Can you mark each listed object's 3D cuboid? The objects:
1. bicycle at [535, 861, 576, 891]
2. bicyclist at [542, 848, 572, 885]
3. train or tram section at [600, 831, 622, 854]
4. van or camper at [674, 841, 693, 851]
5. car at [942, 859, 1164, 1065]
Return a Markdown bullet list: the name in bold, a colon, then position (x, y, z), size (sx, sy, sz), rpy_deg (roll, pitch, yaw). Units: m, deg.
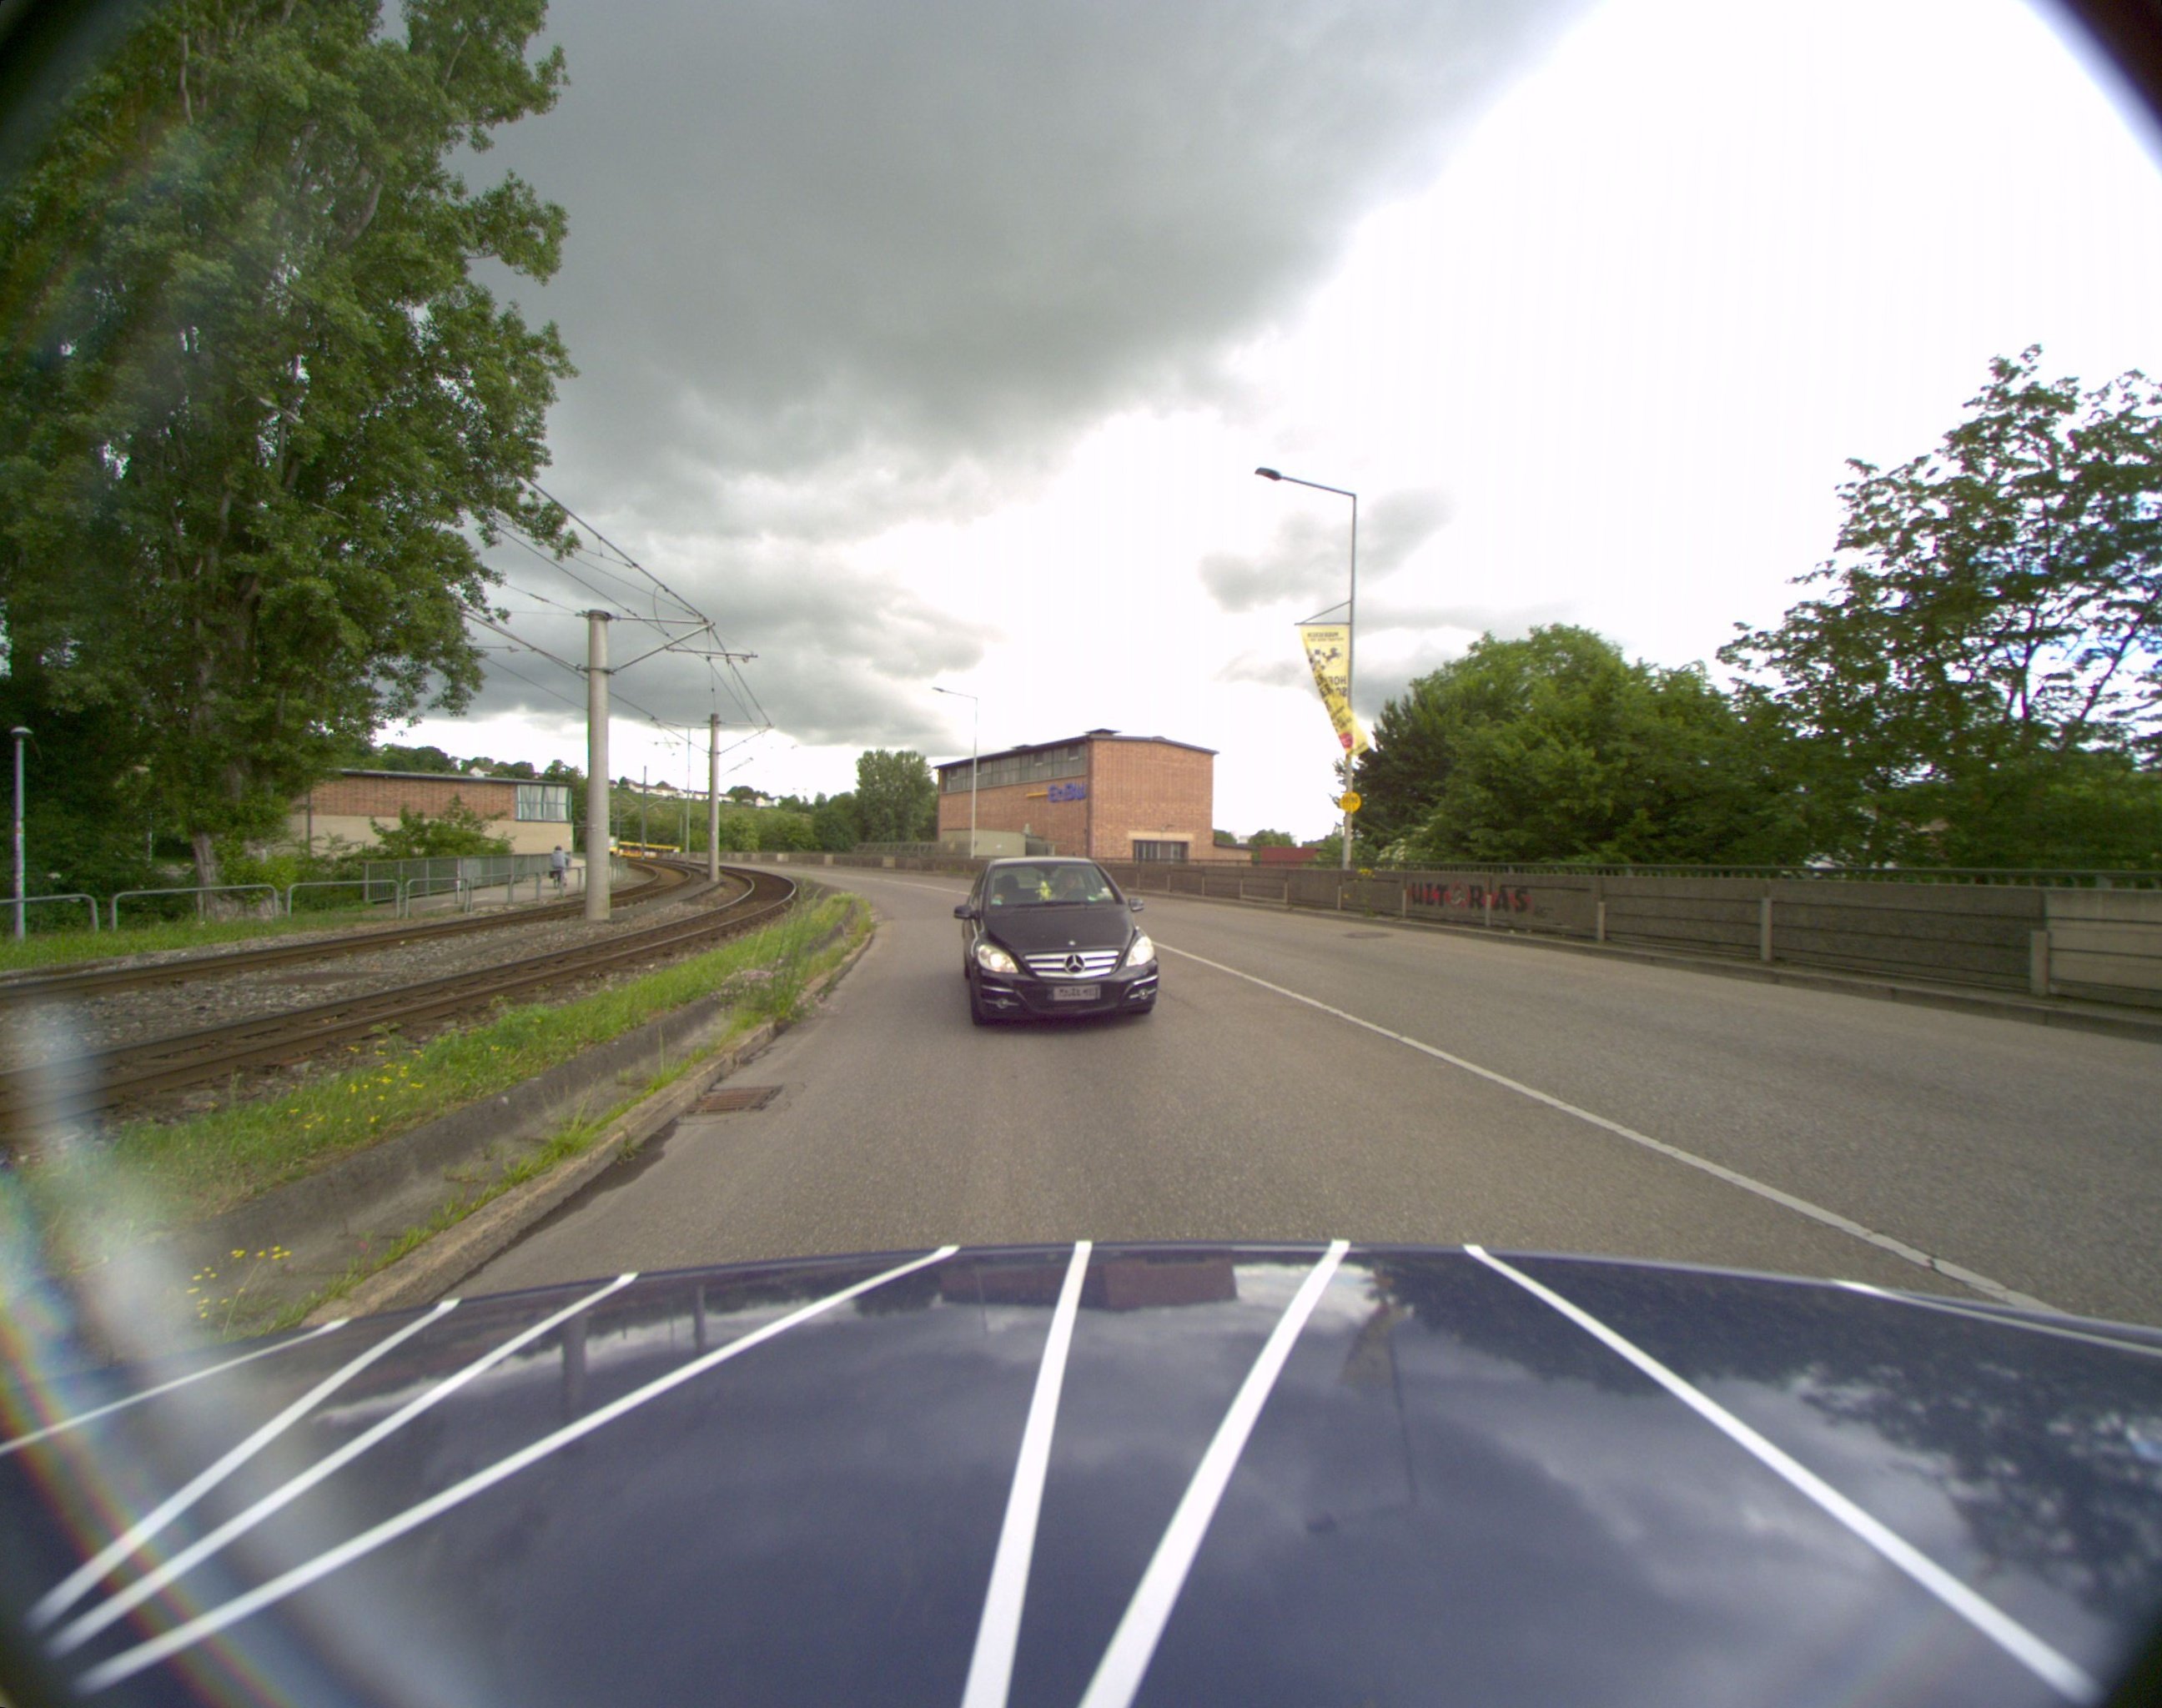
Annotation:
- **bicycle**: position (-19.558, 0.799, 28.307), size (0.427, 1.044, 2.078), rpy_deg (-1, 0, -11)
- **bicyclist**: position (-19.584, 0.465, 28.407), size (0.595, 1.352, 0.910), rpy_deg (-1, 1, -11)
- **train or tram section**: position (-82.596, -2.017, 133.545), size (3.038, 3.896, 9.417), rpy_deg (0, 1, -33)
- **van or camper**: position (-93.976, -1.900, 179.687), size (2.157, 2.461, 4.707), rpy_deg (-1, 1, -5)
- **car**: position (-0.440, 0.917, 8.378), size (1.862, 1.612, 3.997), rpy_deg (0, 1, -6)
